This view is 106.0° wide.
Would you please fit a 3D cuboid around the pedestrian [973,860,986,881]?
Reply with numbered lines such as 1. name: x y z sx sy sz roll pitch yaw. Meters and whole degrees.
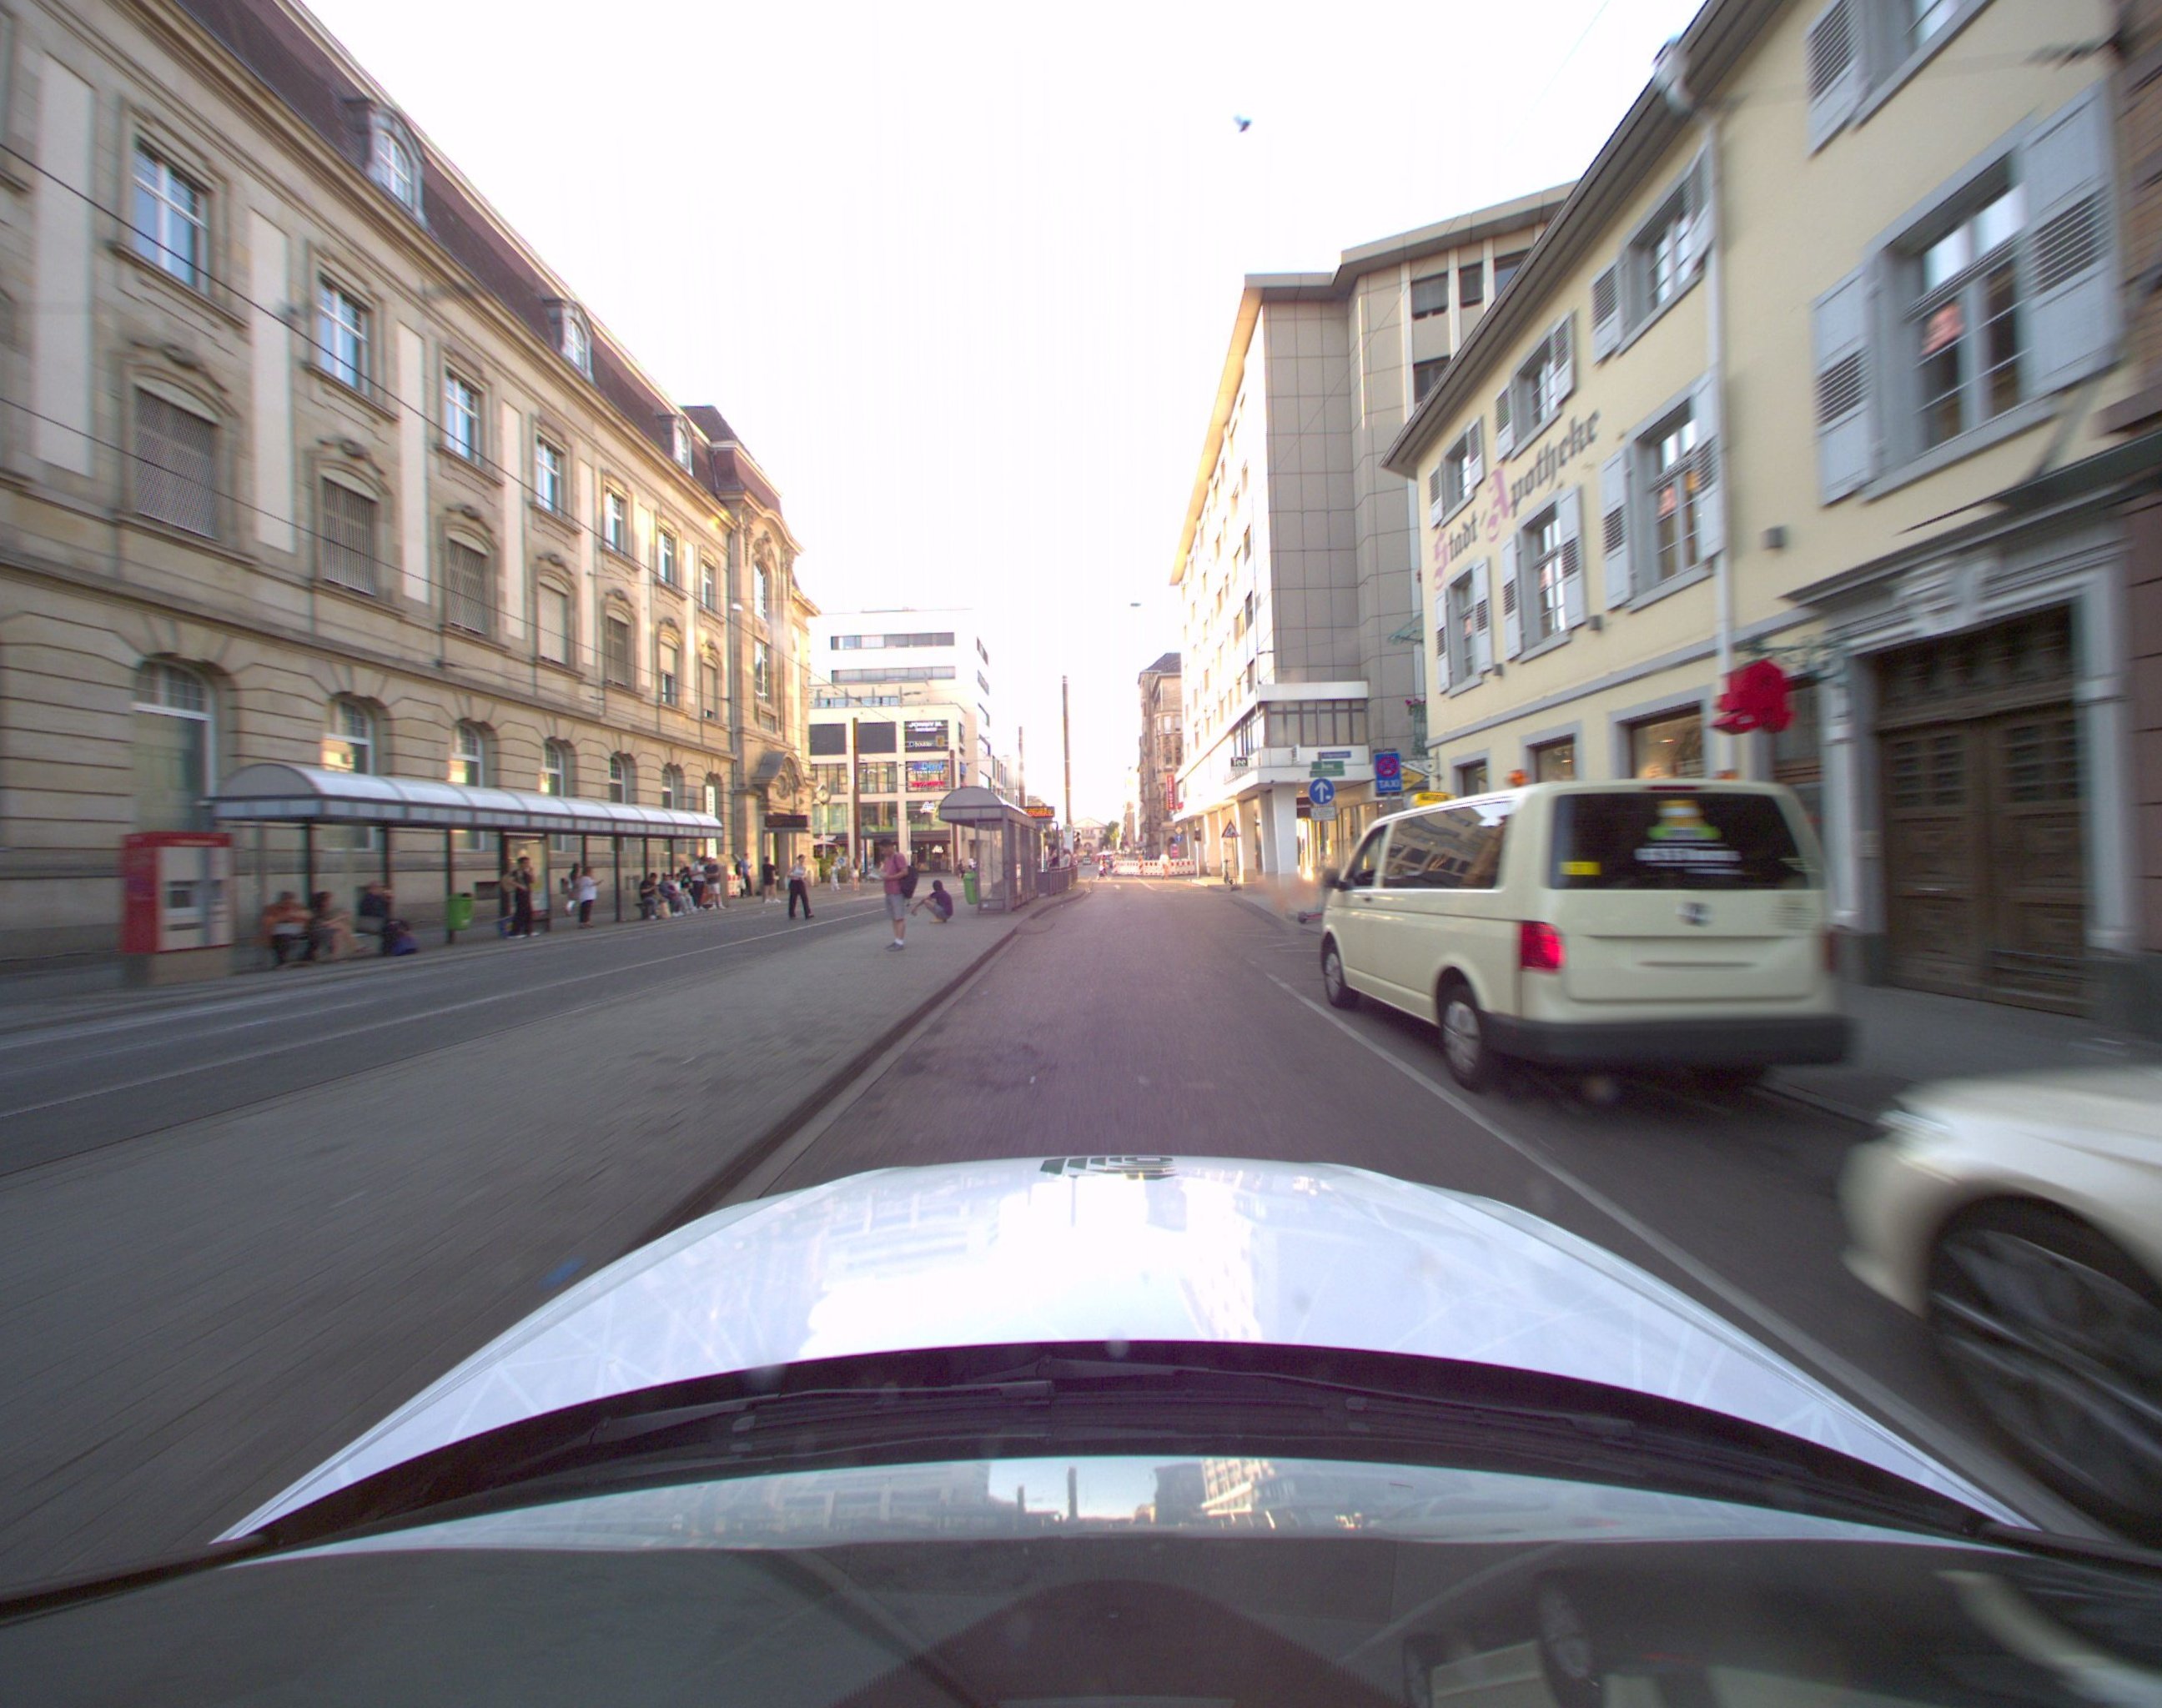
1. pedestrian: -8.201 1.313 65.749 0.773 1.614 0.662 -1 -1 -24

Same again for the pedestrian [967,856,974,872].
1. pedestrian: -12.384 1.132 91.104 0.569 1.855 0.819 -1 -1 13

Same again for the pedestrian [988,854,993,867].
1. pedestrian: -10.130 0.717 91.270 0.388 1.515 0.505 -2 -1 0

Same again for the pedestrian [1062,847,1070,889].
1. pedestrian: -0.640 0.589 34.596 0.341 1.796 0.544 0 -1 -1

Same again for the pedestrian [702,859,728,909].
1. pedestrian: -11.889 0.966 26.460 0.515 1.569 0.639 -1 -1 5

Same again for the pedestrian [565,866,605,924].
1. pedestrian: -11.657 0.963 19.144 0.515 1.327 0.639 -1 -1 5

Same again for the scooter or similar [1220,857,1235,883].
1. scooter or similar: 7.218 0.779 40.049 0.503 1.234 1.180 -2 -1 1

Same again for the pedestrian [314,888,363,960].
1. pedestrian: -11.686 1.091 12.820 0.362 1.102 0.430 0 -1 7

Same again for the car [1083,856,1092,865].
1. car: 1.361 1.471 182.512 1.987 1.904 4.000 0 -1 1

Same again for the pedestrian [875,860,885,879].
1. pedestrian: -15.378 1.201 62.403 0.636 1.420 0.419 -1 0 3

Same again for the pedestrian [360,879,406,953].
1. pedestrian: -11.709 1.031 13.667 0.362 1.200 0.430 0 -1 7

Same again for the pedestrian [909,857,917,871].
1. pedestrian: -19.179 1.125 93.135 0.569 1.526 0.793 -1 -1 13

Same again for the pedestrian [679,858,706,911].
1. pedestrian: -12.255 0.943 25.698 0.515 1.646 0.639 -1 -1 5

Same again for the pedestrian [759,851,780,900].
1. pedestrian: -11.315 0.780 29.553 0.558 1.776 0.468 -1 0 -3

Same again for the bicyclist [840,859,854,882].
1. bicyclist: -16.507 1.158 57.487 0.786 1.593 0.610 -2 -1 1

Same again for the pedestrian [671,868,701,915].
1. pedestrian: -11.339 1.071 23.390 0.515 1.327 0.639 -1 -1 5

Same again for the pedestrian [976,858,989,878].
1. pedestrian: -7.865 1.125 65.171 0.825 1.614 0.688 -1 -1 -24

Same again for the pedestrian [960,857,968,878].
1. pedestrian: -9.083 1.063 63.076 0.568 1.593 0.447 -2 -1 -5

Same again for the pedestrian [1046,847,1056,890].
1. pedestrian: -1.167 0.561 31.781 0.384 1.642 0.549 0 -1 -1

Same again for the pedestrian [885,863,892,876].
1. pedestrian: -14.724 1.195 62.180 0.420 0.965 0.419 -1 0 3

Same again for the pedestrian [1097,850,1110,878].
1. pedestrian: 1.368 0.605 50.135 0.698 1.693 0.540 0 -1 -6

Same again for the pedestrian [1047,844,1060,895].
1. pedestrian: -0.968 0.539 28.769 0.411 1.767 0.594 0 -1 -1

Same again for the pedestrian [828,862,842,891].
1. pedestrian: -13.057 1.173 43.275 0.496 1.525 0.521 -1 0 11

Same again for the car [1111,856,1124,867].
1. car: 5.170 1.062 116.290 1.673 1.547 3.673 -3 -1 1

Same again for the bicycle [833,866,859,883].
1. bicycle: -16.586 1.454 57.476 1.615 1.103 0.629 -2 -1 -2

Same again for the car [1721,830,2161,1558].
1. car: 3.084 0.708 0.439 1.799 1.483 4.779 1 0 1

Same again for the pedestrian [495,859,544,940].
1. pedestrian: -11.701 0.939 16.985 0.513 1.650 0.641 -2 -1 18

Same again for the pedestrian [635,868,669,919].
1. pedestrian: -11.452 1.053 21.752 0.515 1.327 0.639 -1 -1 5

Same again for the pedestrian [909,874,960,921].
1. pedestrian: -3.114 0.915 17.288 0.791 0.939 0.697 -1 0 24

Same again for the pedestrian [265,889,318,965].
1. pedestrian: -11.856 1.085 12.237 0.362 1.102 0.430 0 -1 7

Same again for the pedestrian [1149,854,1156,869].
1. pedestrian: 8.128 0.868 93.128 0.709 1.611 0.821 0 -1 -2

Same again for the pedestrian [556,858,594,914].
1. pedestrian: -14.973 0.935 24.111 0.697 1.614 0.630 0 -1 0

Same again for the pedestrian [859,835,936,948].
1. pedestrian: -2.764 0.539 12.292 0.679 1.638 0.866 -2 -1 42

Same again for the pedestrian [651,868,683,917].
1. pedestrian: -11.434 1.062 22.520 0.515 1.327 0.639 -1 -1 5

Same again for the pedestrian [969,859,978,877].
1. pedestrian: -10.144 1.296 77.008 0.645 1.674 0.531 -2 -1 9

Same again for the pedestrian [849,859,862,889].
1. pedestrian: -11.647 1.031 42.046 0.524 1.525 0.502 -1 0 -1

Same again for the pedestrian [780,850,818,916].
1. pedestrian: -7.380 0.763 21.349 0.669 1.691 0.641 -2 -1 17

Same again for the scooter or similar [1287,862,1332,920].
1. scooter or similar: 5.226 0.835 18.594 1.051 1.234 0.269 -2 -1 -31

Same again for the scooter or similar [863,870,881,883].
1. scooter or similar: -15.779 1.717 61.555 1.089 0.904 0.891 -2 0 2

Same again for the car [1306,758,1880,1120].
1. car: 3.404 0.481 6.730 1.870 1.923 4.700 1 -1 1

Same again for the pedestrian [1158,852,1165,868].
1. pedestrian: 8.509 0.618 85.904 0.623 1.690 0.671 -2 -1 -1

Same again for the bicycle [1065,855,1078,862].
1. bicycle: -1.568 0.741 139.820 2.139 1.029 0.641 -2 -1 2

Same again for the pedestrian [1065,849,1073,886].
1. pedestrian: -0.544 0.614 36.881 0.356 1.642 0.502 0 -1 -1

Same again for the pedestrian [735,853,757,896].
1. pedestrian: -14.381 0.872 34.952 0.619 1.776 0.705 -1 0 -2

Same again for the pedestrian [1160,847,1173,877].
1. pedestrian: 5.118 0.488 48.808 0.696 1.815 0.853 0 -1 3

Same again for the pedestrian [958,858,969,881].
1. pedestrian: -9.007 1.201 62.498 0.743 1.700 0.609 -2 -1 -6

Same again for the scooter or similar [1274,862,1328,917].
1. scooter or similar: 5.219 0.837 19.292 1.166 1.234 0.318 -3 -1 17

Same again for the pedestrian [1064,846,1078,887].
1. pedestrian: -0.446 0.561 35.386 0.536 1.767 0.595 0 -1 6
